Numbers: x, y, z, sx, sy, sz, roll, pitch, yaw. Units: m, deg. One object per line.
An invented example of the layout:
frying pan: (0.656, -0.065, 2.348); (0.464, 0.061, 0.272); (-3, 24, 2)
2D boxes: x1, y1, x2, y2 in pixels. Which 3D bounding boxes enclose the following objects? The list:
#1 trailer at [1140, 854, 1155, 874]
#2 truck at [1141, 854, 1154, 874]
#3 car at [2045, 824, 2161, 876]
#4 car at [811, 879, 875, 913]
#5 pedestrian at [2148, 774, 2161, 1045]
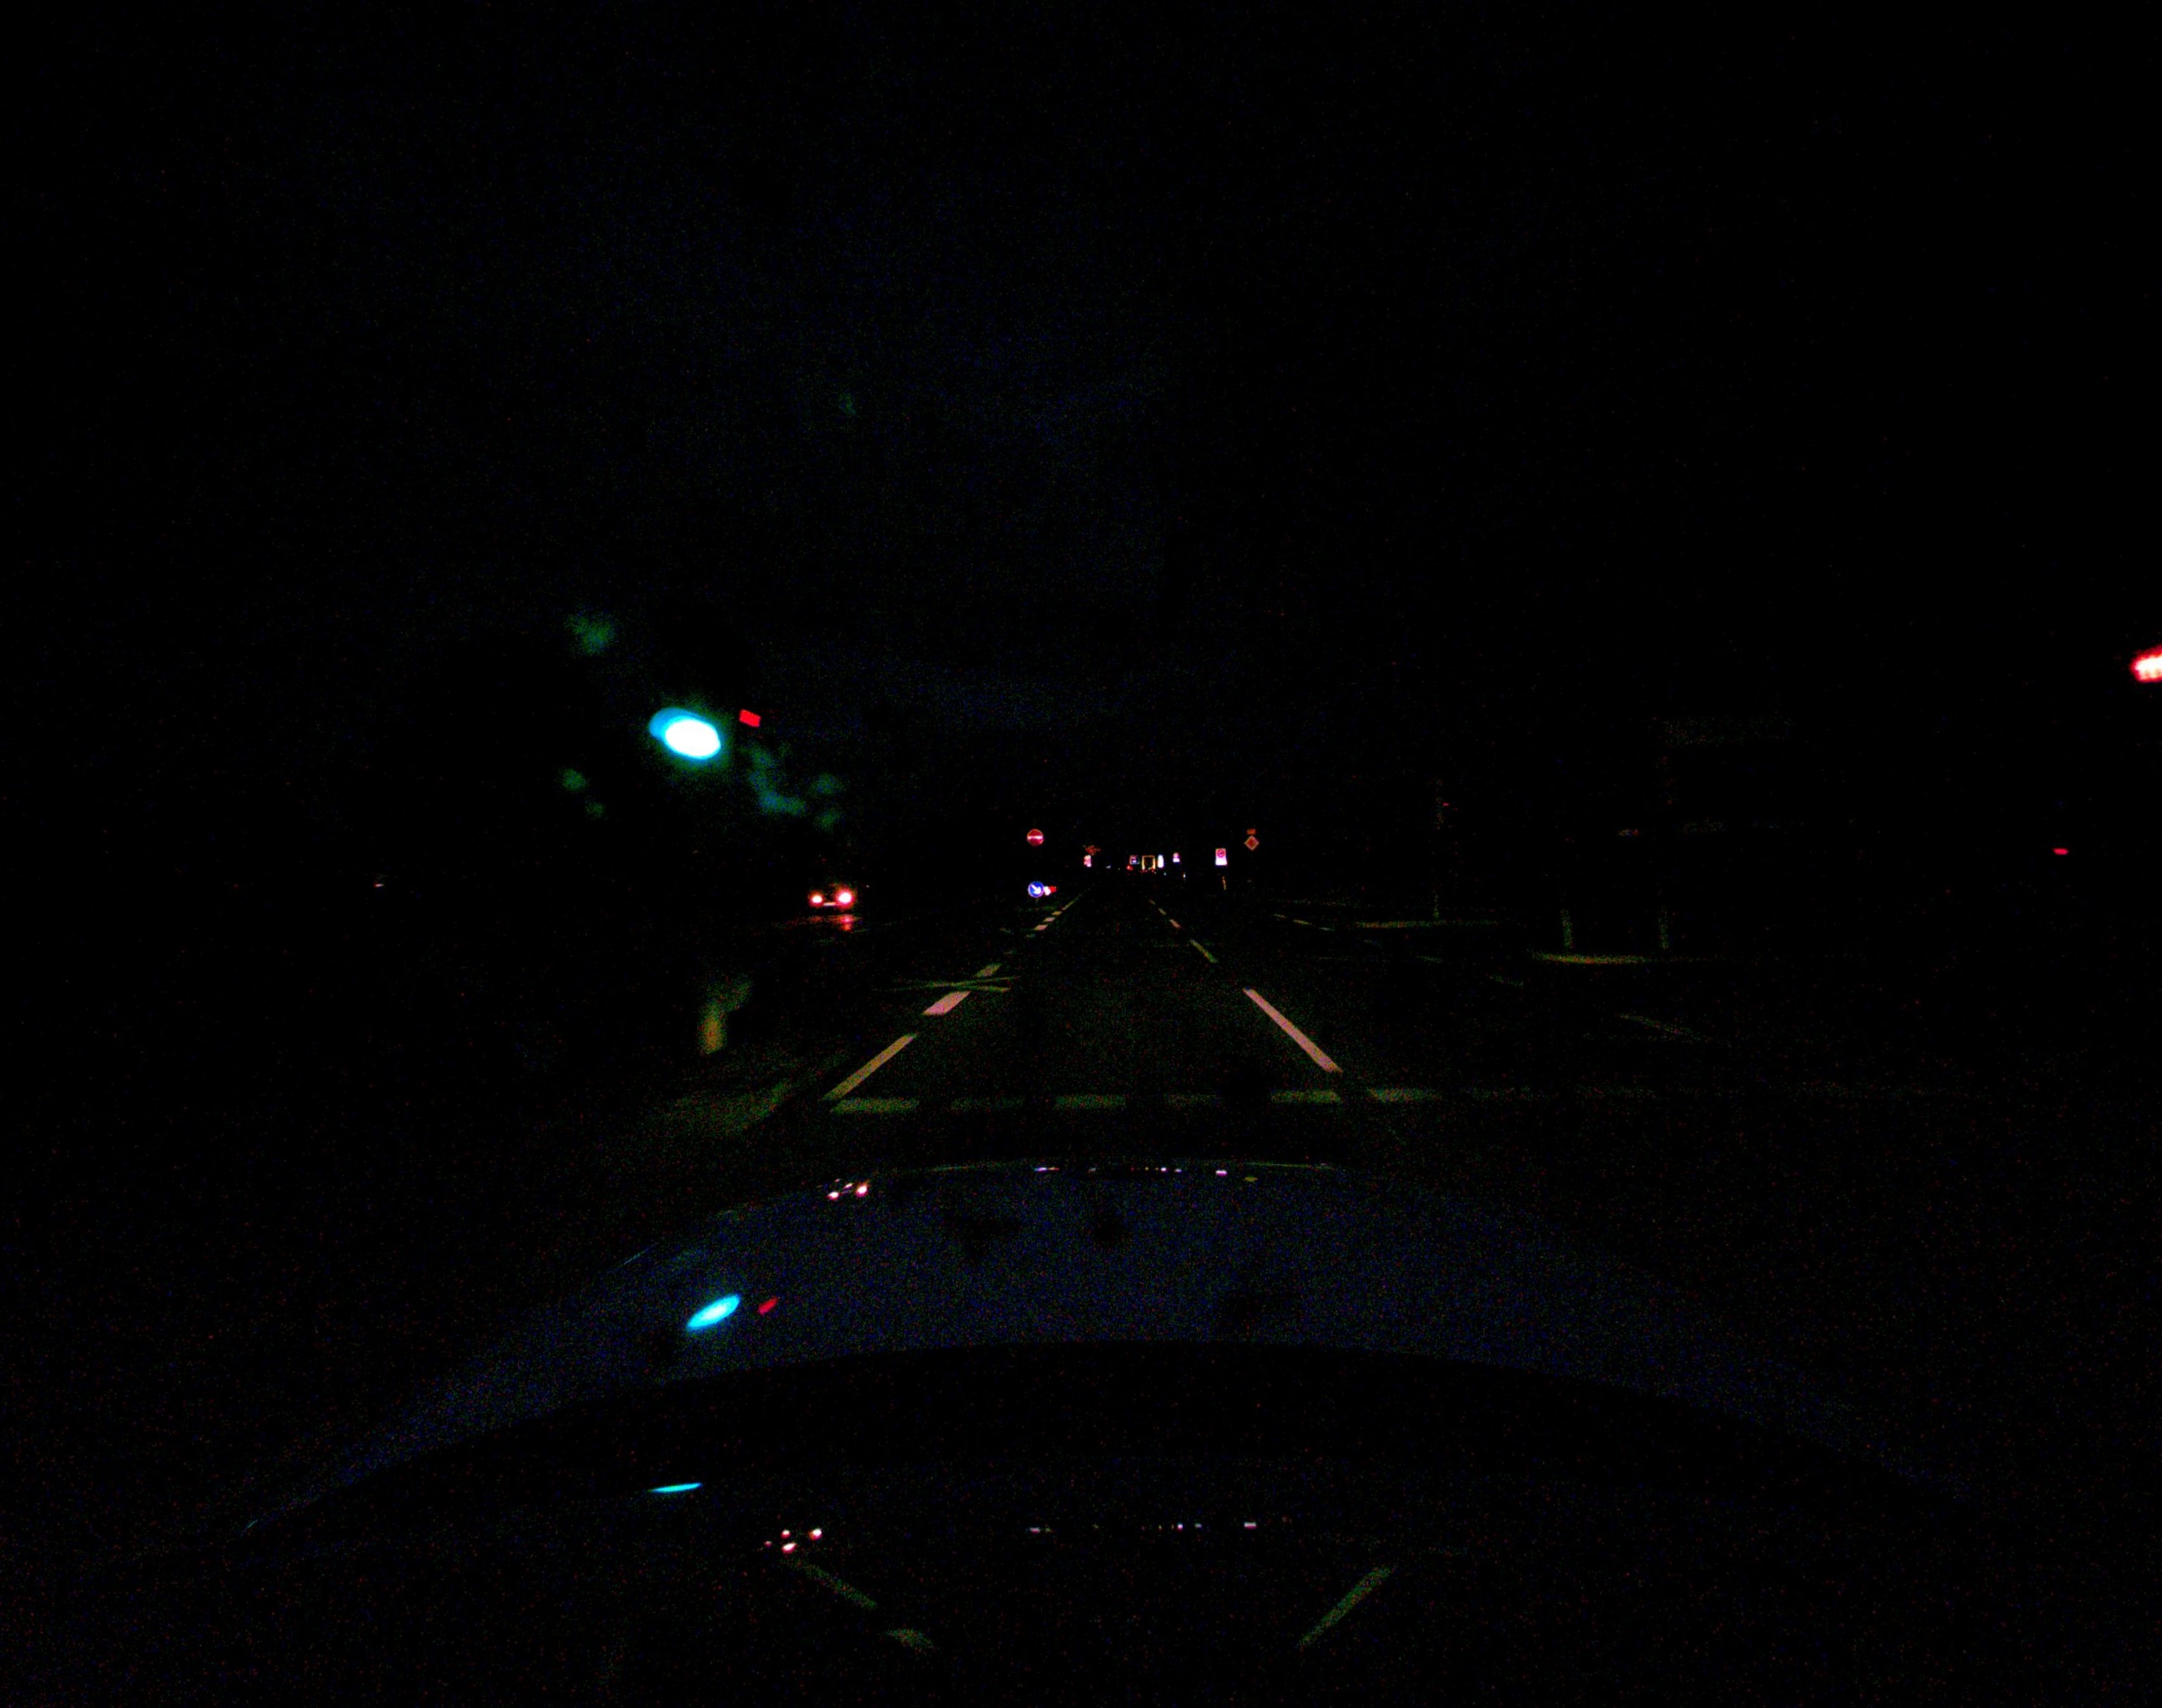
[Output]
trailer: (14.310, 2.191, 176.881); (2.612, 4.104, 12.943); (-2, -1, 2)
truck: (13.938, 2.055, 170.248); (2.568, 4.071, 6.134); (0, -1, 3)
car: (35.784, -0.153, 27.022); (2.000, 1.664, 4.447); (-2, -1, -20)
car: (-10.972, 1.891, 37.789); (1.646, 1.384, 4.031); (-3, -1, 1)
pedestrian: (7.721, 0.450, 5.203); (0.775, 2.014, 0.714); (-1, -2, 3)
